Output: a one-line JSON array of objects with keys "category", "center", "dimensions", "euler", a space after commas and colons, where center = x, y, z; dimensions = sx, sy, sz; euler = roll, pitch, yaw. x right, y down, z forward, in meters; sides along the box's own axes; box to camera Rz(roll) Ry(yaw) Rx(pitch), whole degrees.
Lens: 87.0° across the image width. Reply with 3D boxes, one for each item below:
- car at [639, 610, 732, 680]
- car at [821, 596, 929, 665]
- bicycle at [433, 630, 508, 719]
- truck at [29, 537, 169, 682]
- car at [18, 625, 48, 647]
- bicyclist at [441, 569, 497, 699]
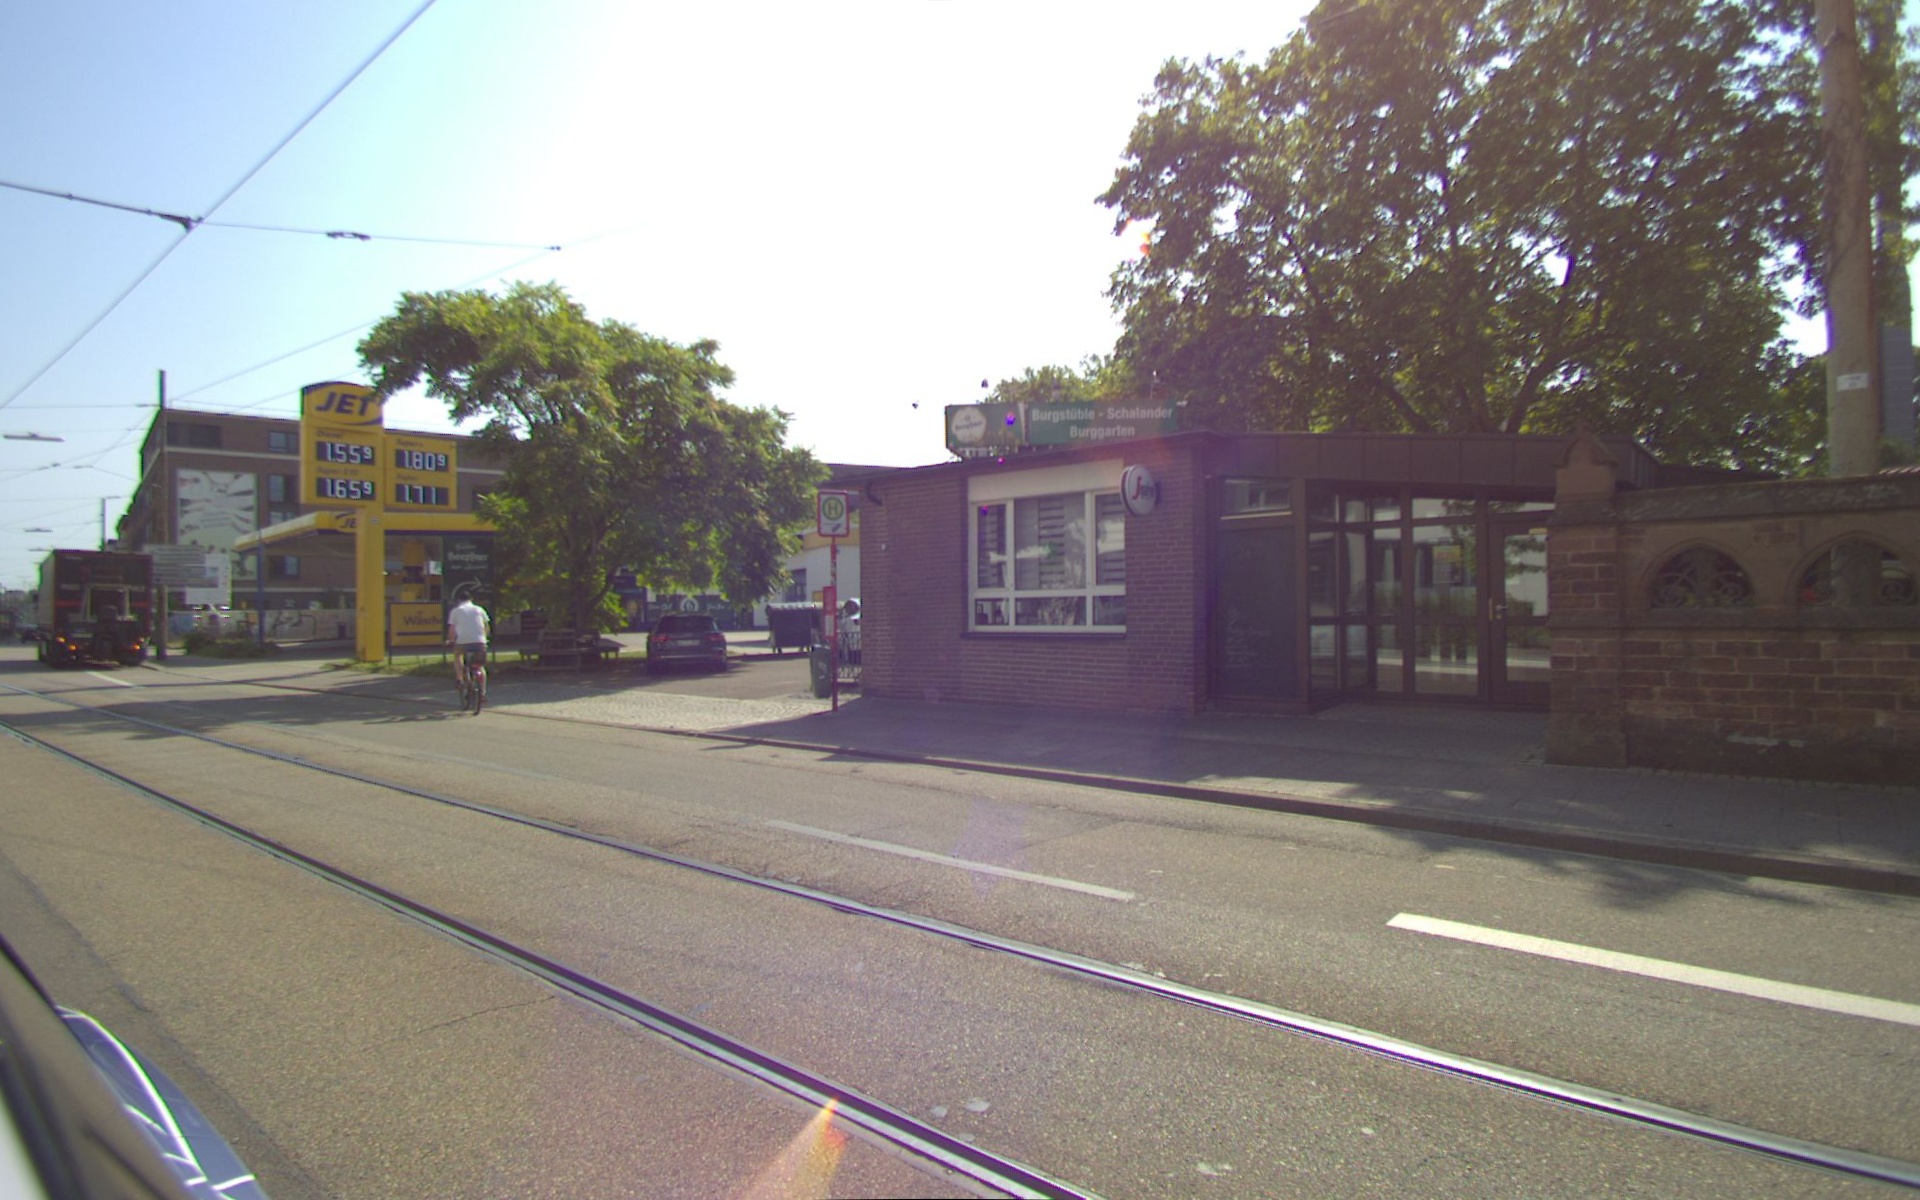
[{"category": "car", "center": [-6.561, 0.982, 24.092], "dimensions": [1.905, 1.472, 4.540], "euler": [-1, 0, -16]}, {"category": "car", "center": [-2.305, 0.741, 26.207], "dimensions": [1.905, 1.610, 4.540], "euler": [-1, 0, -16]}, {"category": "bicycle", "center": [-7.687, 1.119, 15.851], "dimensions": [0.775, 1.249, 2.039], "euler": [-1, 0, -34]}, {"category": "truck", "center": [-33.095, 0.413, 38.475], "dimensions": [3.128, 4.487, 16.854], "euler": [-1, -1, -44]}, {"category": "car", "center": [-73.832, 2.870, 80.595], "dimensions": [1.753, 1.679, 4.004], "euler": [-1, -1, -43]}, {"category": "bicyclist", "center": [-7.680, 0.510, 15.809], "dimensions": [0.632, 1.944, 1.179], "euler": [-1, -1, -33]}]
